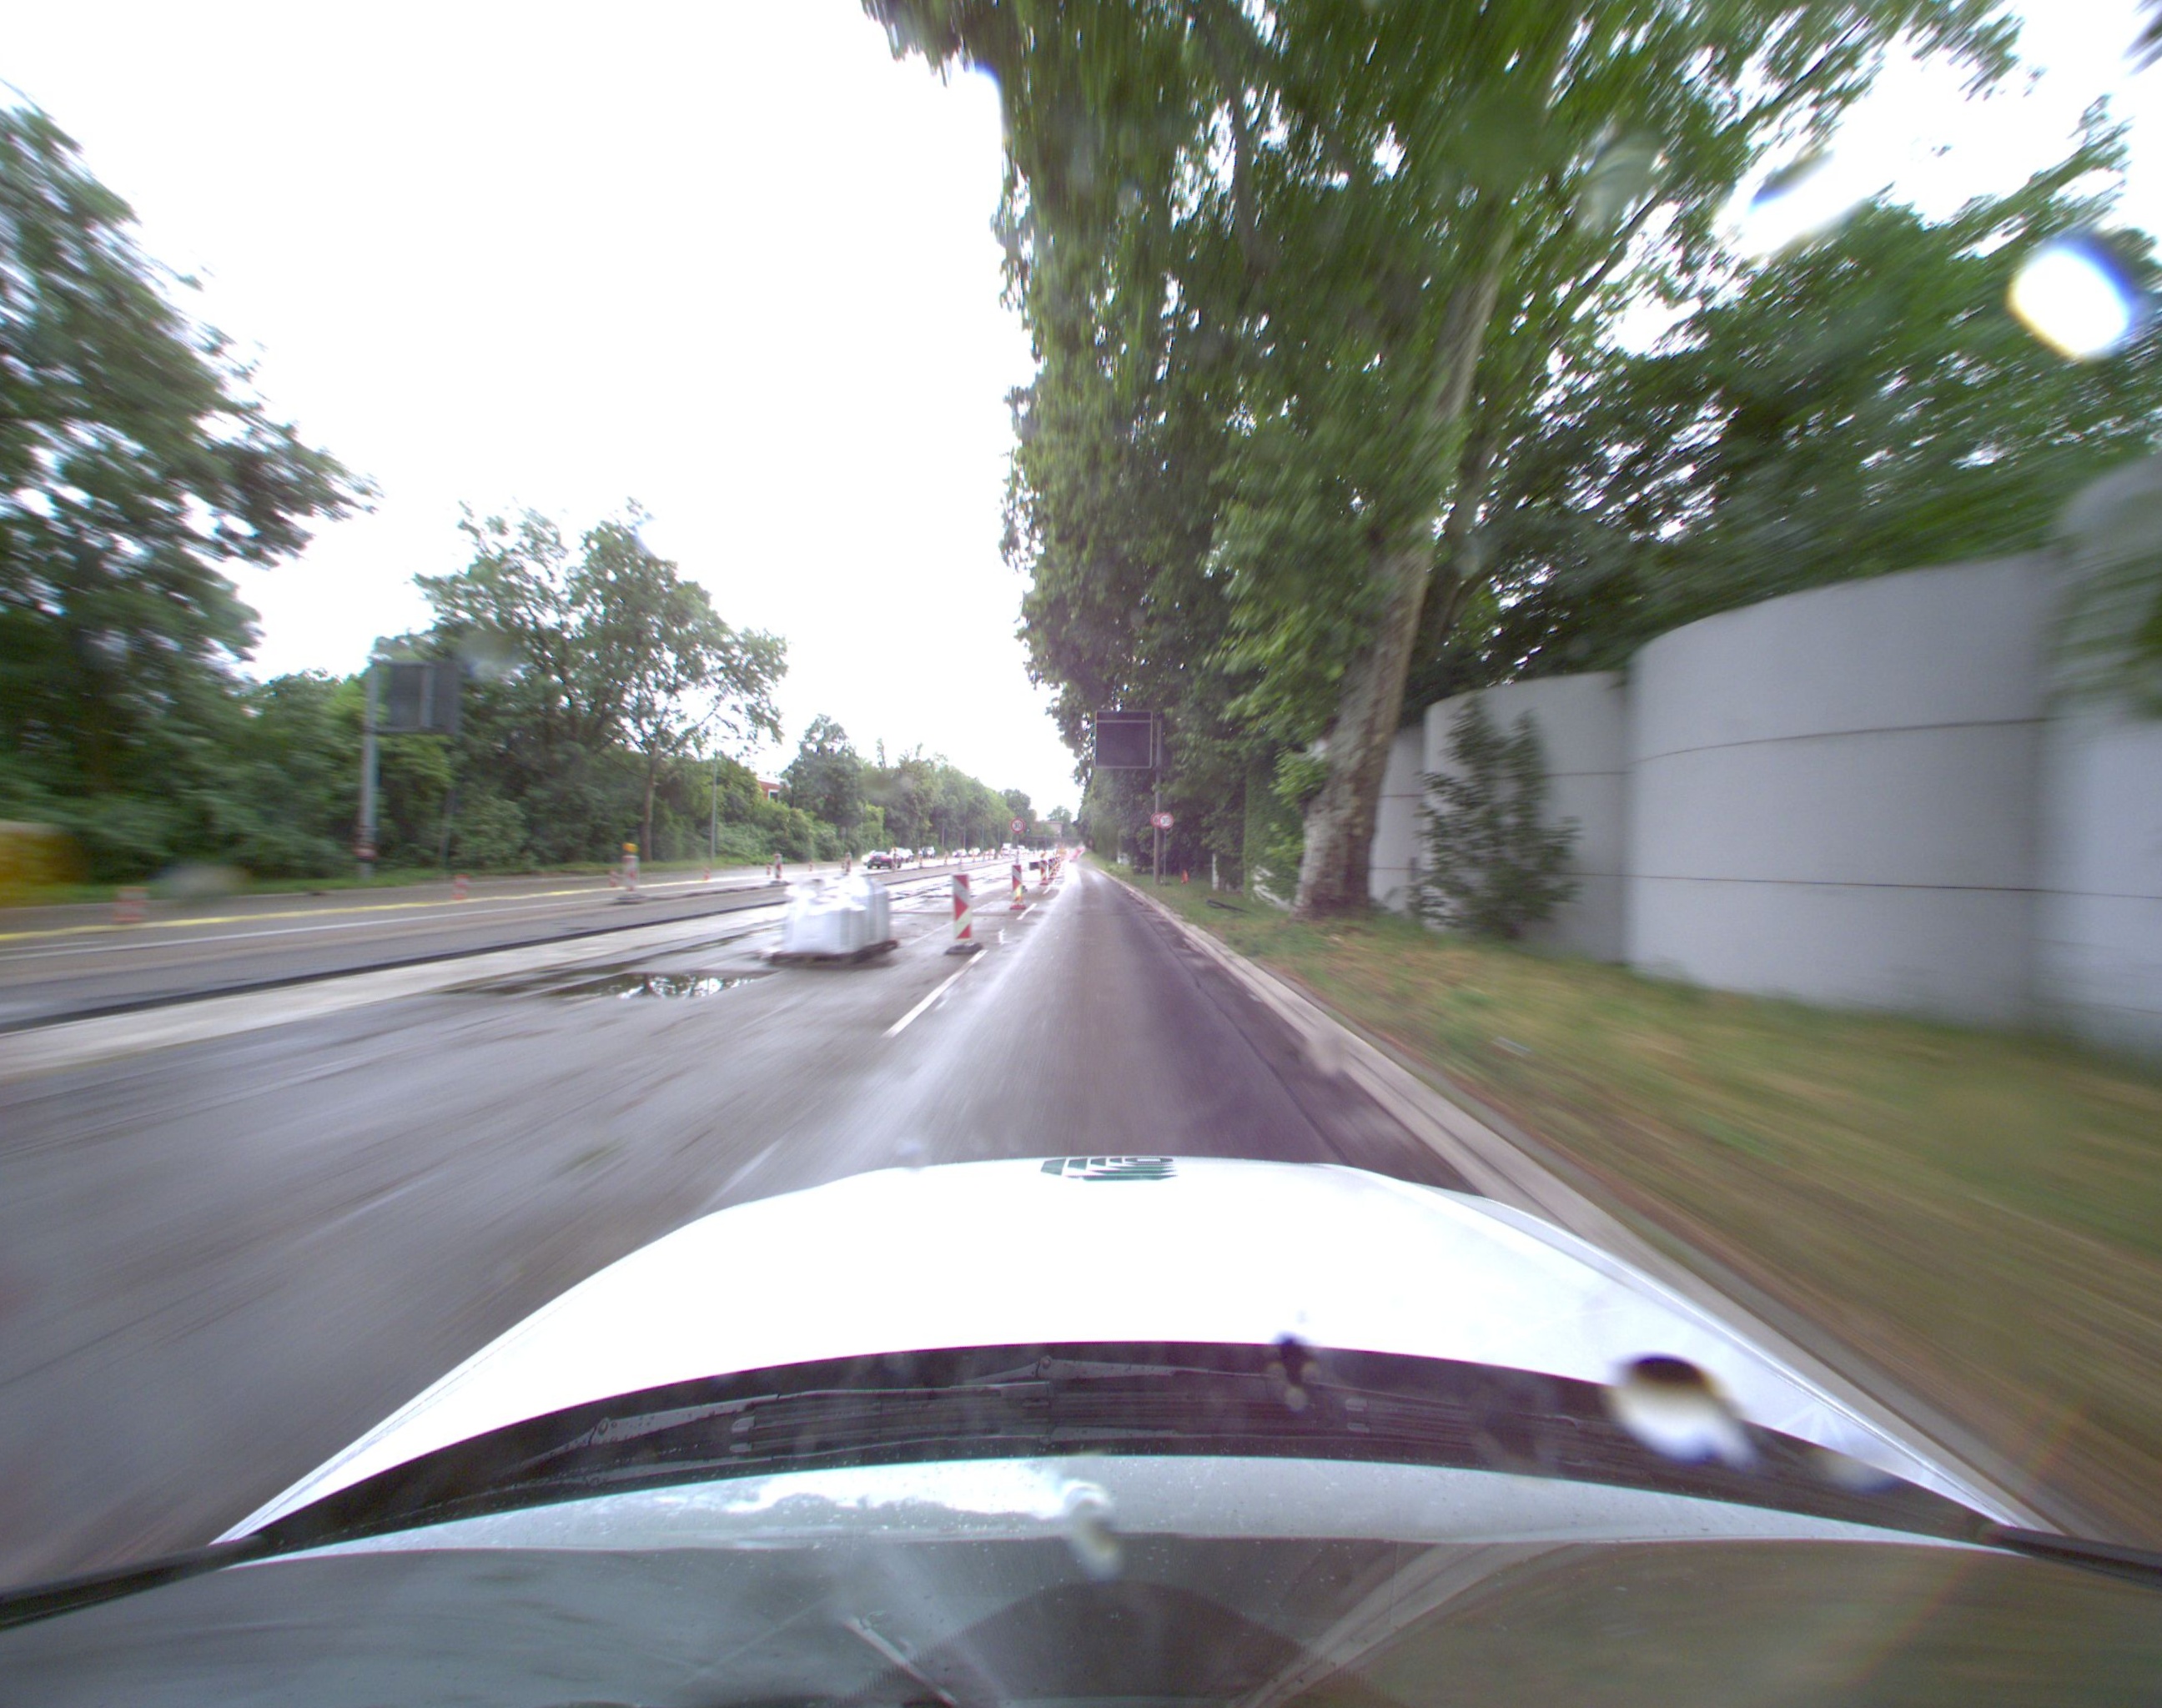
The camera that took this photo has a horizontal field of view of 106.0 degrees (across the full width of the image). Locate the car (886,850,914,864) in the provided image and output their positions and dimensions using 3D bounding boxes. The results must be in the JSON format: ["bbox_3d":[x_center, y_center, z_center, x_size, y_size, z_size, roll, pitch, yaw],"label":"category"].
[{"bbox_3d":[-17.536,0.282,78.976,1.812,1.355,4.203,-1,0,-1],"label":"car"}]

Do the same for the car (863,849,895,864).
[{"bbox_3d":[-18.145,0.220,73.229,1.812,1.355,4.388,-1,0,-1],"label":"car"}]

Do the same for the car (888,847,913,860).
[{"bbox_3d":[-21.196,-0.094,95.786,1.812,1.420,4.601,2,0,-1],"label":"car"}]

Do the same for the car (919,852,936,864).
[{"bbox_3d":[-21.863,0.525,116.098,1.648,1.685,4.531,2,0,-1],"label":"car"}]

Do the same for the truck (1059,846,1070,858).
[{"bbox_3d":[-5.085,-0.597,252.443,3.250,3.497,13.864,1,0,-1],"label":"truck"}]

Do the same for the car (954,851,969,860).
[{"bbox_3d":[-19.429,0.241,132.677,1.755,1.483,4.897,1,0,-2],"label":"car"}]

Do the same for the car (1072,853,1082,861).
[{"bbox_3d":[-0.672,0.536,136.016,1.692,1.336,3.489,-1,0,-1],"label":"car"}]

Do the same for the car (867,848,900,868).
[{"bbox_3d":[-14.980,0.278,61.967,1.603,1.404,4.039,1,0,-1],"label":"car"}]
